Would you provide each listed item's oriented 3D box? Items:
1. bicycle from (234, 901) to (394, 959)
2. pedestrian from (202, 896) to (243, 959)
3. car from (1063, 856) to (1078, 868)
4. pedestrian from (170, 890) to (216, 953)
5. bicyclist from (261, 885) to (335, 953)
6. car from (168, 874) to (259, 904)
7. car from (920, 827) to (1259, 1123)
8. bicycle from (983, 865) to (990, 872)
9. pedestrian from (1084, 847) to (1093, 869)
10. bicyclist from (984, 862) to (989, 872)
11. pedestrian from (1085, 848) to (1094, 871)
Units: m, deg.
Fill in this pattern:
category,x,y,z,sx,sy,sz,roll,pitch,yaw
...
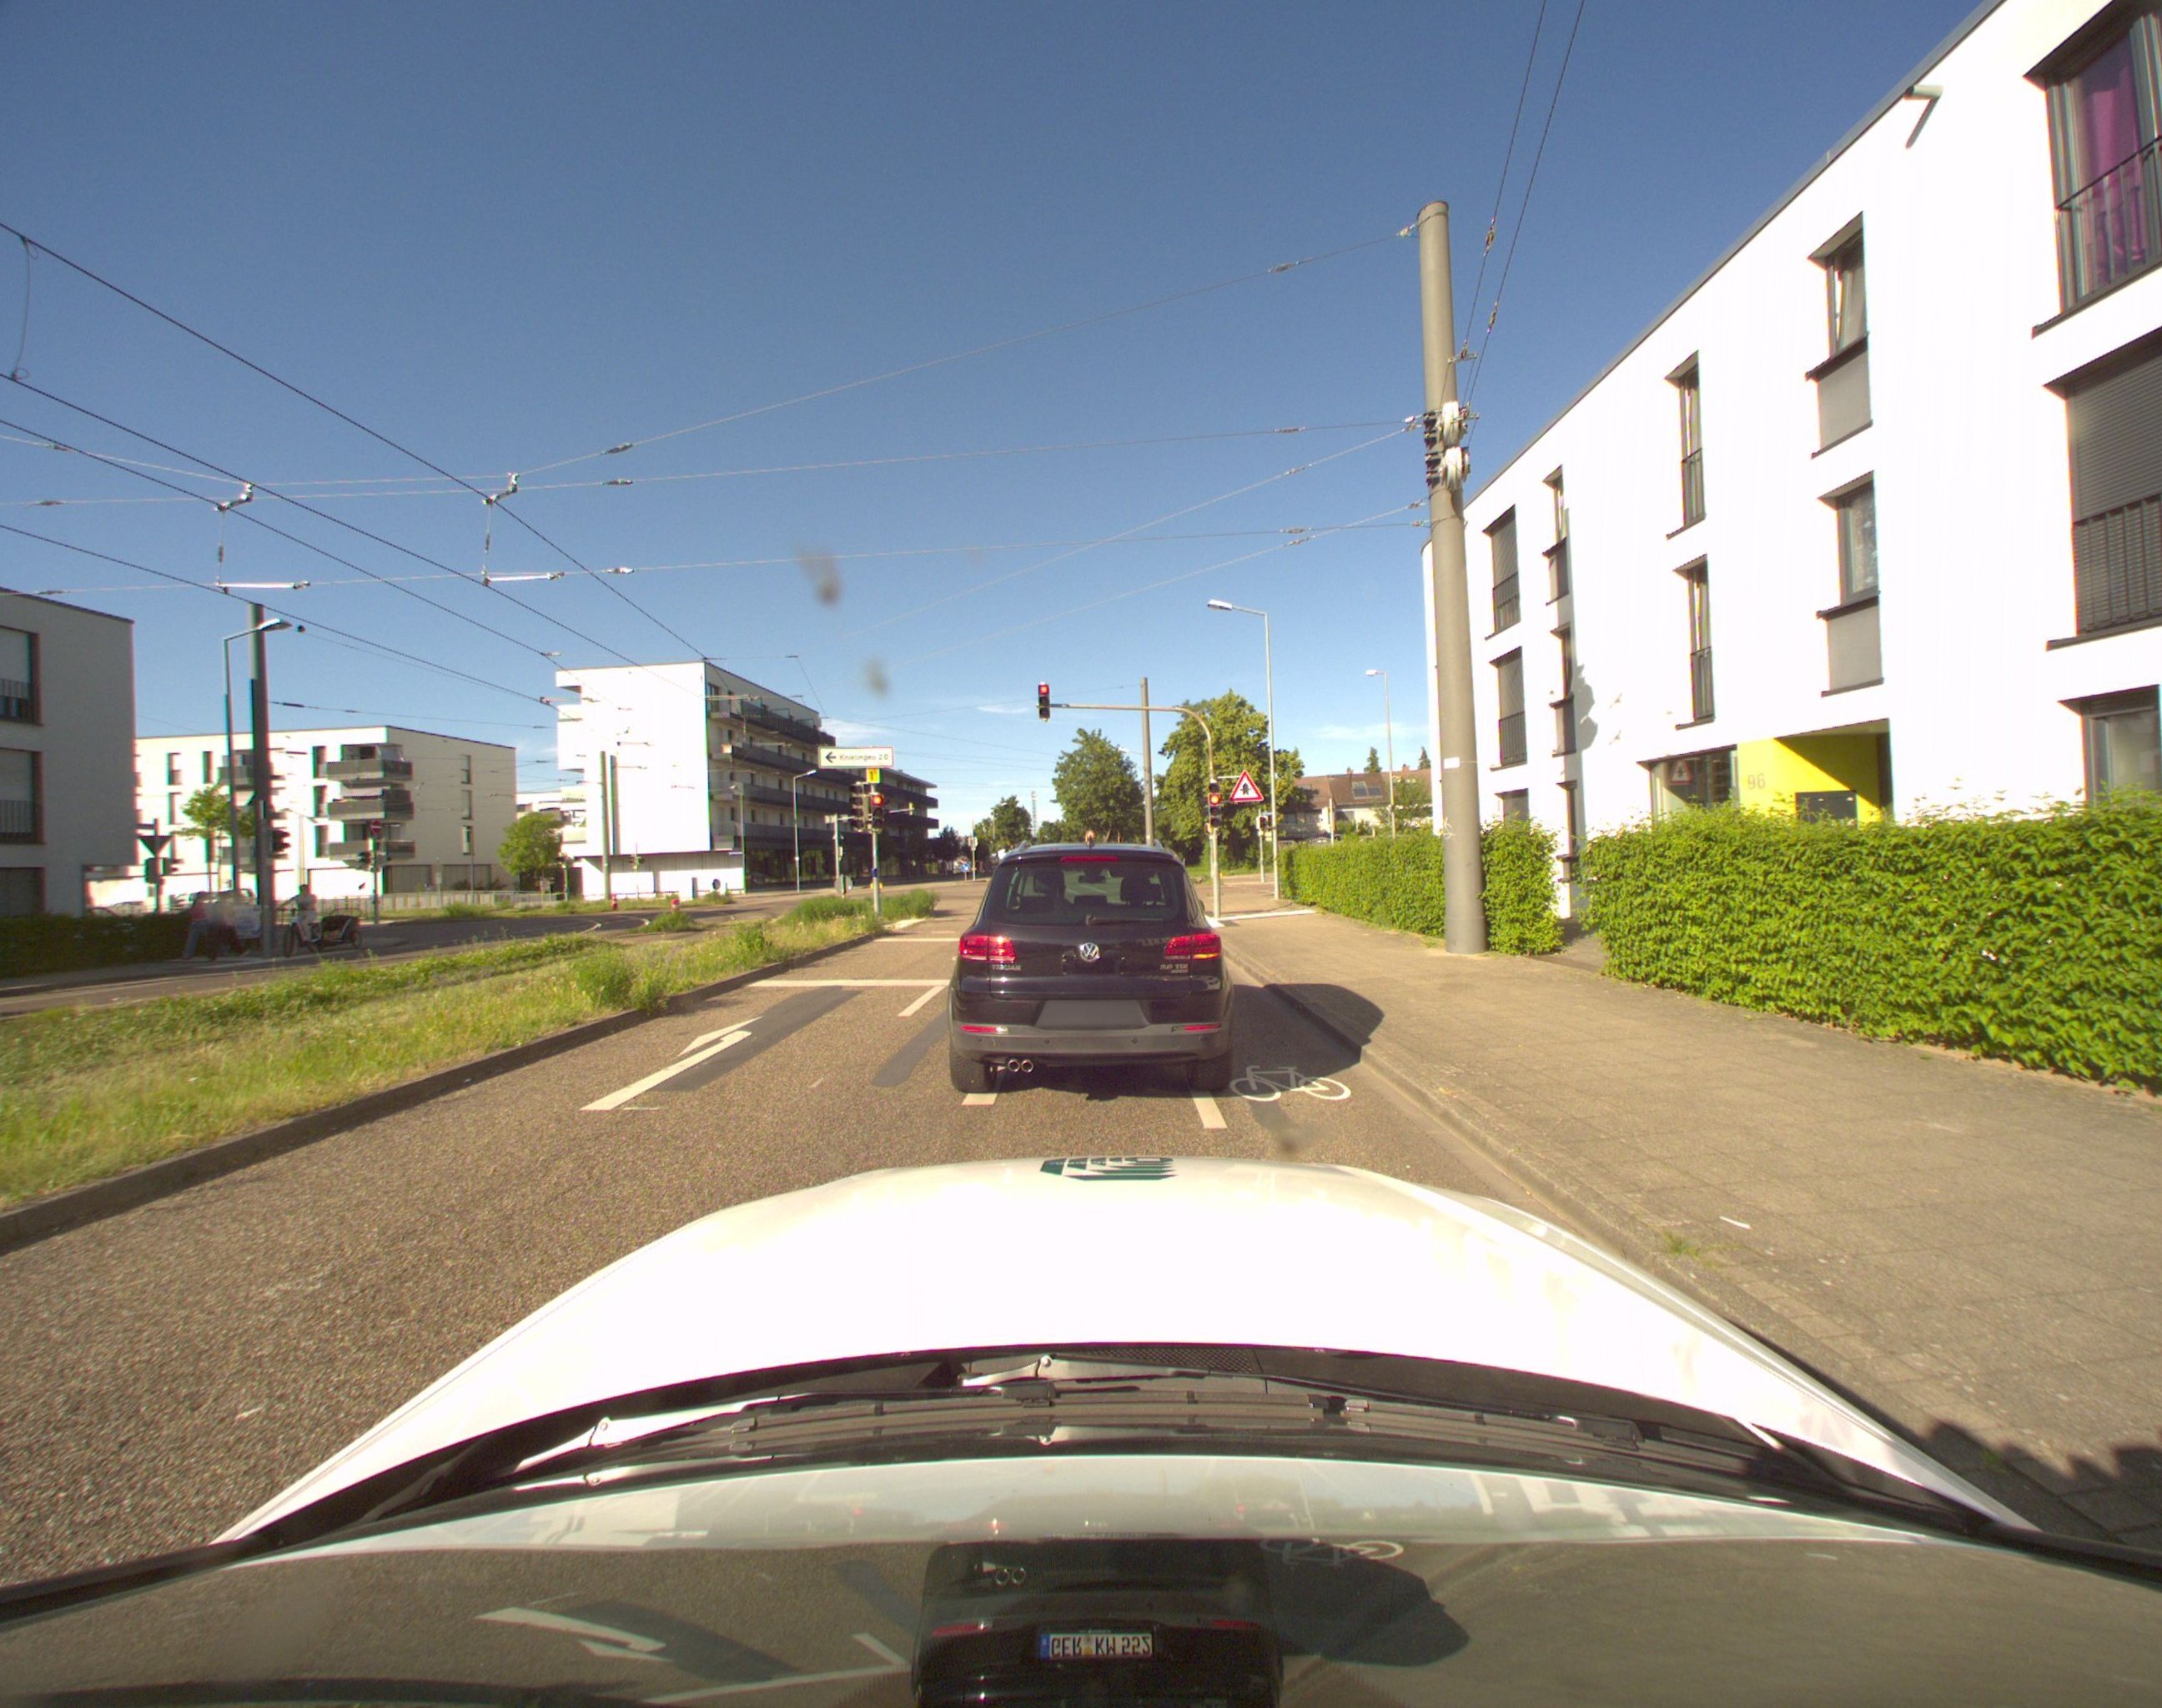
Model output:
category,x,y,z,sx,sy,sz,roll,pitch,yaw
bicycle,-19.897,1.921,21.324,0.995,1.174,3.686,1,0,-6
pedestrian,-20.792,1.767,19.738,0.561,1.464,0.605,-1,0,-36
car,-1.221,1.010,100.159,1.745,1.387,4.000,-1,0,0
pedestrian,-21.460,1.617,19.693,0.560,1.464,0.735,-1,0,-30
bicyclist,-19.845,1.634,20.666,0.972,1.630,0.911,-1,0,-6
car,-58.721,2.348,55.165,3.974,1.838,2.000,-1,0,0
car,0.070,0.685,6.616,1.899,1.643,4.000,-1,0,0
bicycle,-12.320,1.883,106.448,0.493,0.848,2.082,-1,0,6
pedestrian,0.550,0.309,59.285,0.600,1.565,0.530,-1,0,6
bicyclist,-12.329,1.706,106.357,0.472,1.223,0.713,-1,0,5
pedestrian,0.634,0.389,59.953,0.600,1.640,0.530,-1,0,6
